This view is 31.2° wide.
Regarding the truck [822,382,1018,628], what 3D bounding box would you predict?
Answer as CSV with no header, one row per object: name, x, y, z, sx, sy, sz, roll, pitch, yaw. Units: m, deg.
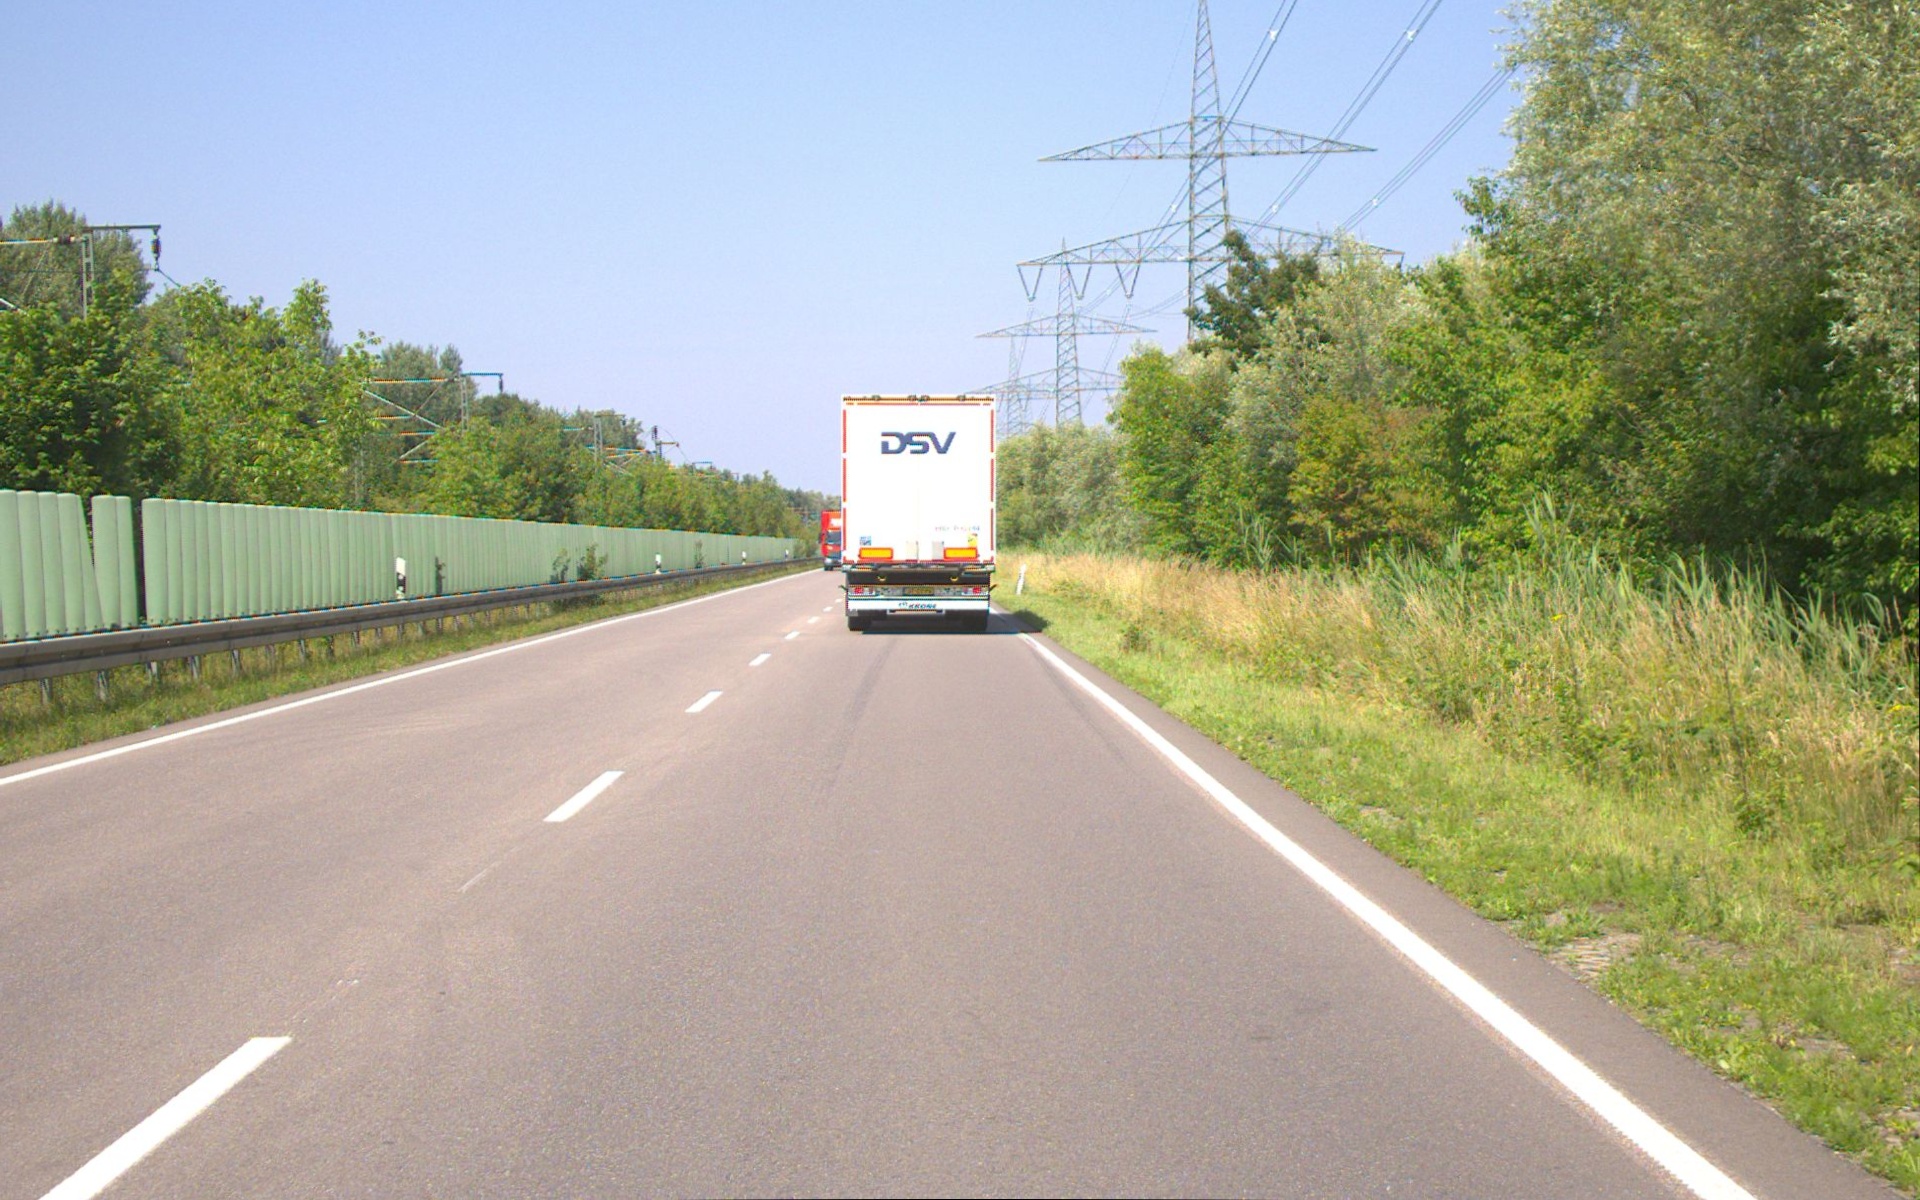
truck,-0.798,-1.675,62.458,3.192,4.029,12.008,0,1,-1

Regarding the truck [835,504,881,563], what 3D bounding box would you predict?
truck,-6.318,-4.142,213.601,2.734,3.586,9.528,0,1,-1
